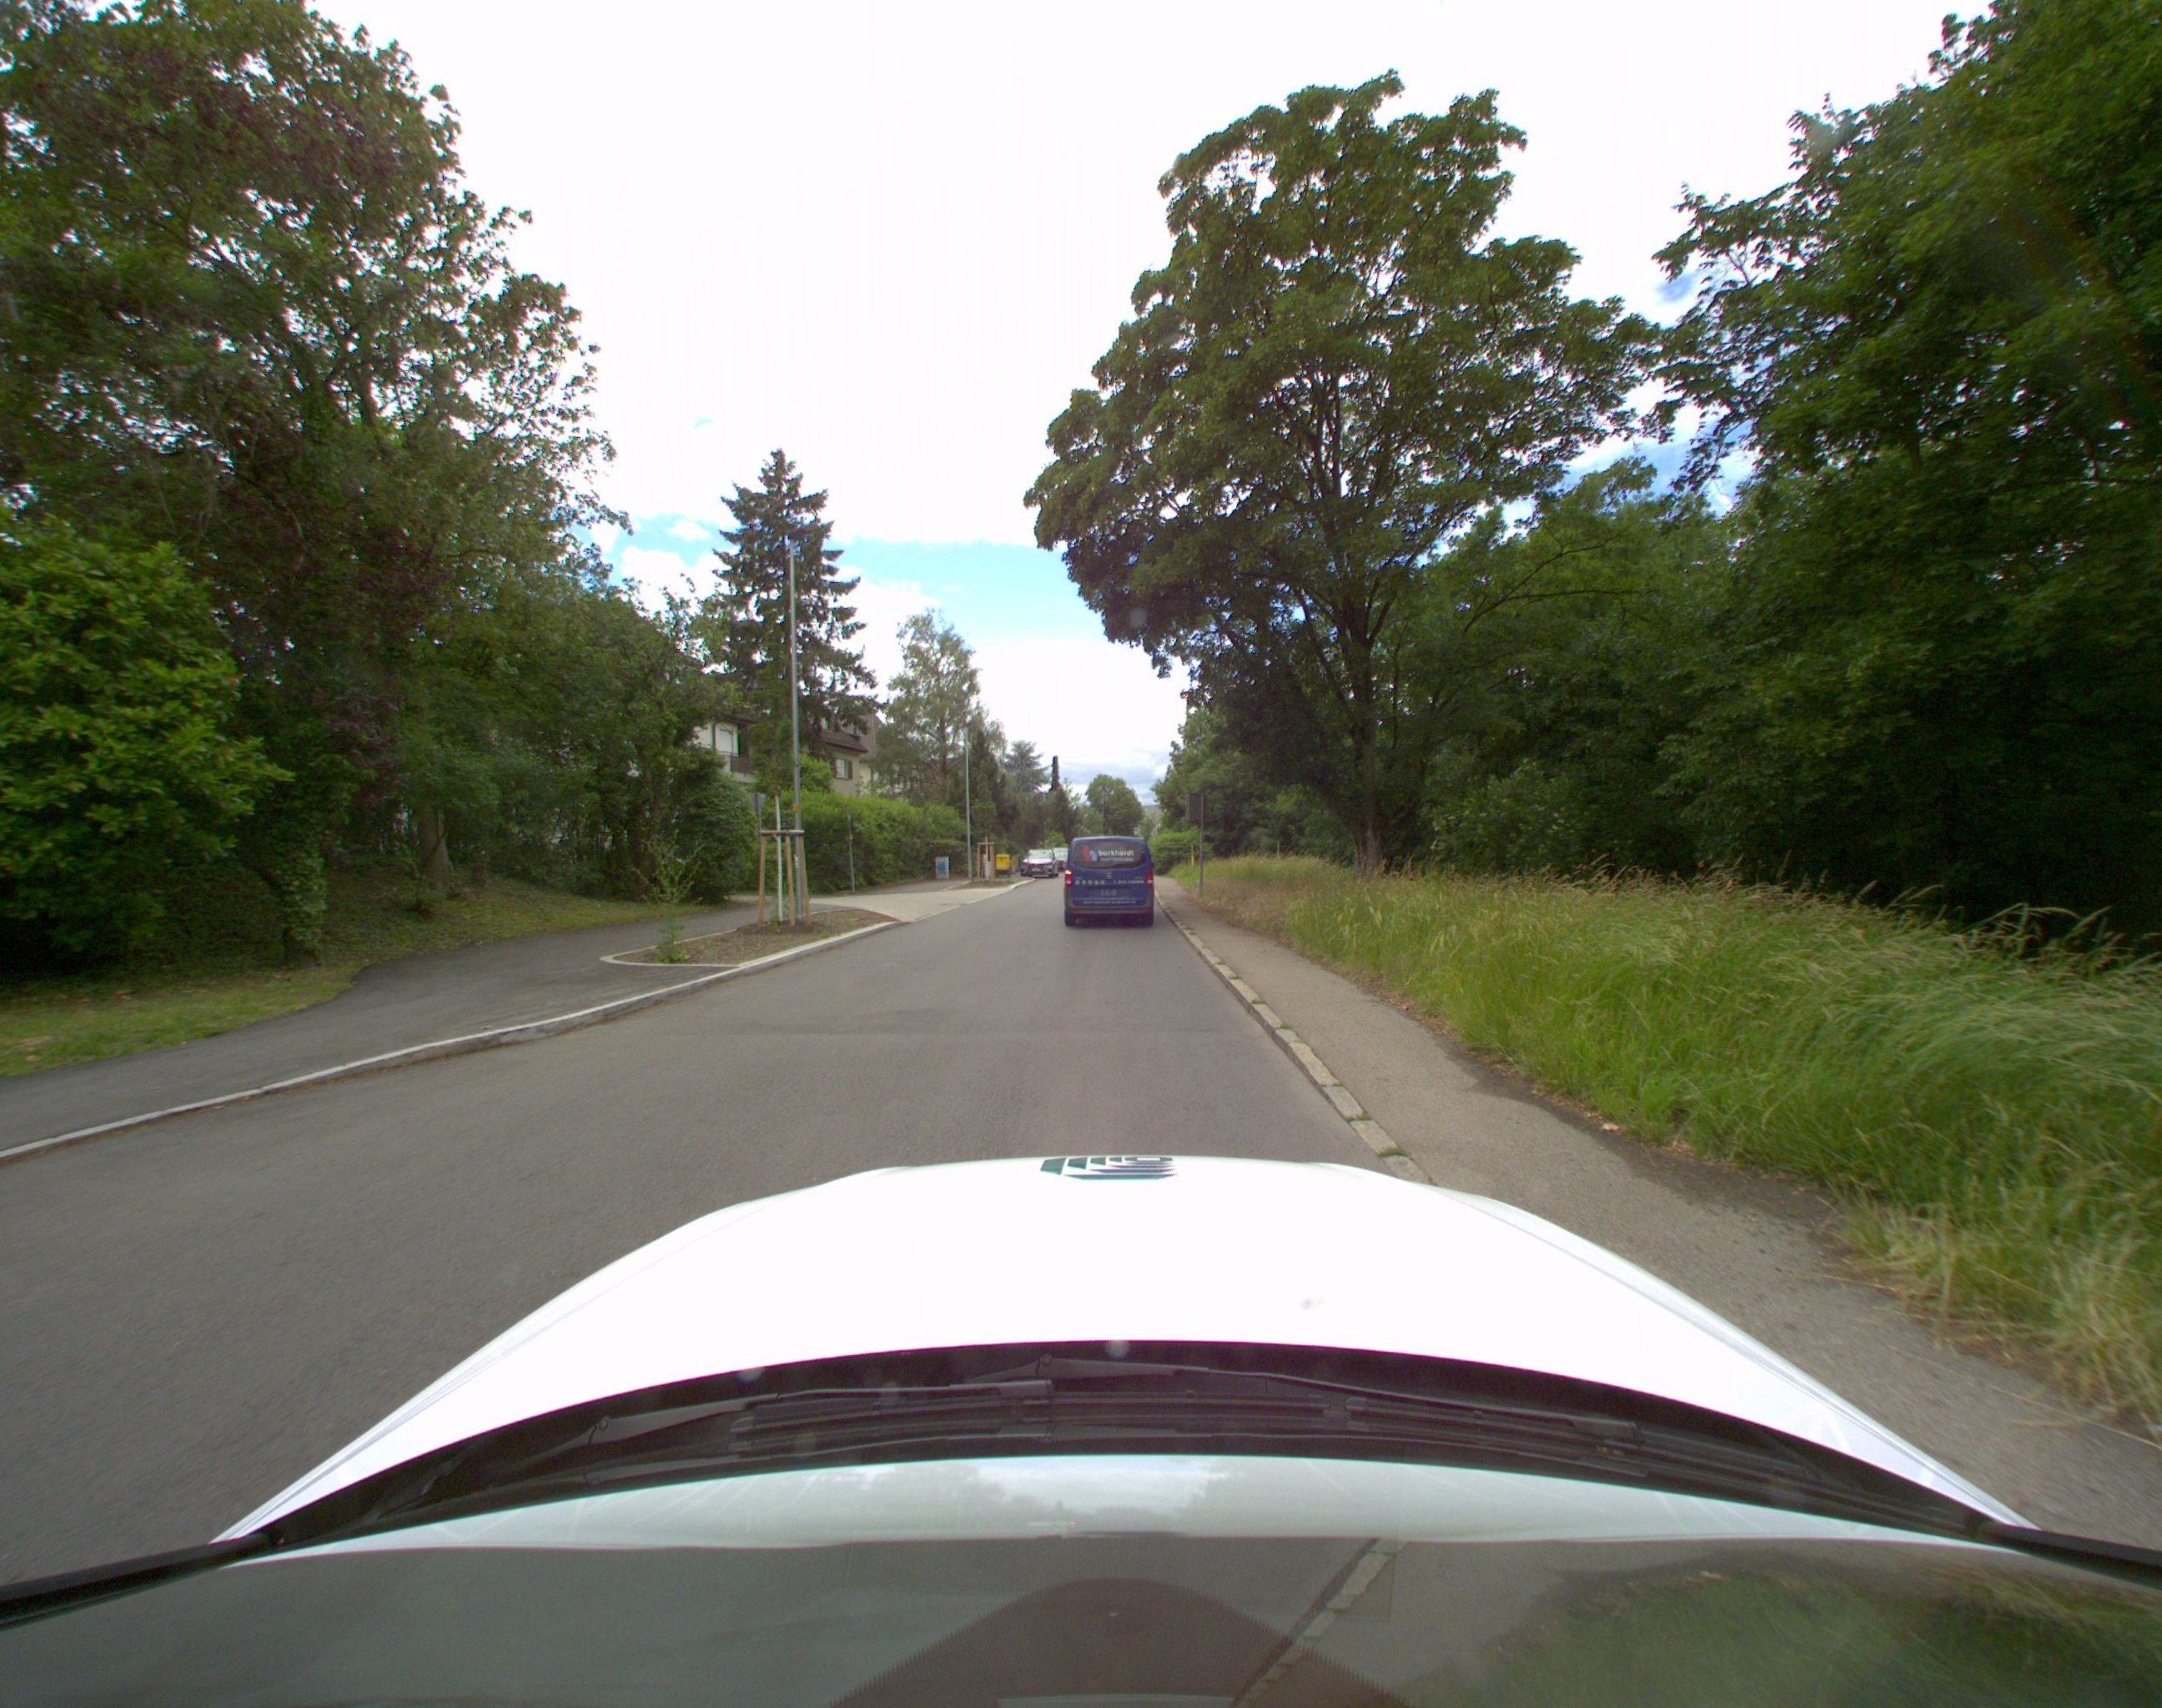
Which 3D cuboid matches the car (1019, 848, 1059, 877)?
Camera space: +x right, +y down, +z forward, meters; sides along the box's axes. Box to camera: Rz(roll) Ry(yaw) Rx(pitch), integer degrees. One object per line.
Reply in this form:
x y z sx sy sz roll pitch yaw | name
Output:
-2.388 0.482 47.544 1.828 1.631 4.305 0 0 4 | car

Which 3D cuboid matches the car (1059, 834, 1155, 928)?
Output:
0.493 0.491 18.218 1.883 1.843 3.999 -1 2 -1 | car

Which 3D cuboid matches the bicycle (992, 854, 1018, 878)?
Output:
-4.140 0.625 44.681 0.902 1.252 2.919 1 0 4 | bicycle

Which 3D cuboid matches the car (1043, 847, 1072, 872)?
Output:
-1.699 0.390 60.439 1.824 1.751 4.004 0 1 4 | car

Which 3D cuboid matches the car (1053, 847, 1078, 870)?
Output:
-1.222 0.396 66.596 1.824 1.804 4.002 0 -1 2 | car

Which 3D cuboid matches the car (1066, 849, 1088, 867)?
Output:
-0.343 0.390 82.064 1.883 1.692 4.554 0 2 4 | car
